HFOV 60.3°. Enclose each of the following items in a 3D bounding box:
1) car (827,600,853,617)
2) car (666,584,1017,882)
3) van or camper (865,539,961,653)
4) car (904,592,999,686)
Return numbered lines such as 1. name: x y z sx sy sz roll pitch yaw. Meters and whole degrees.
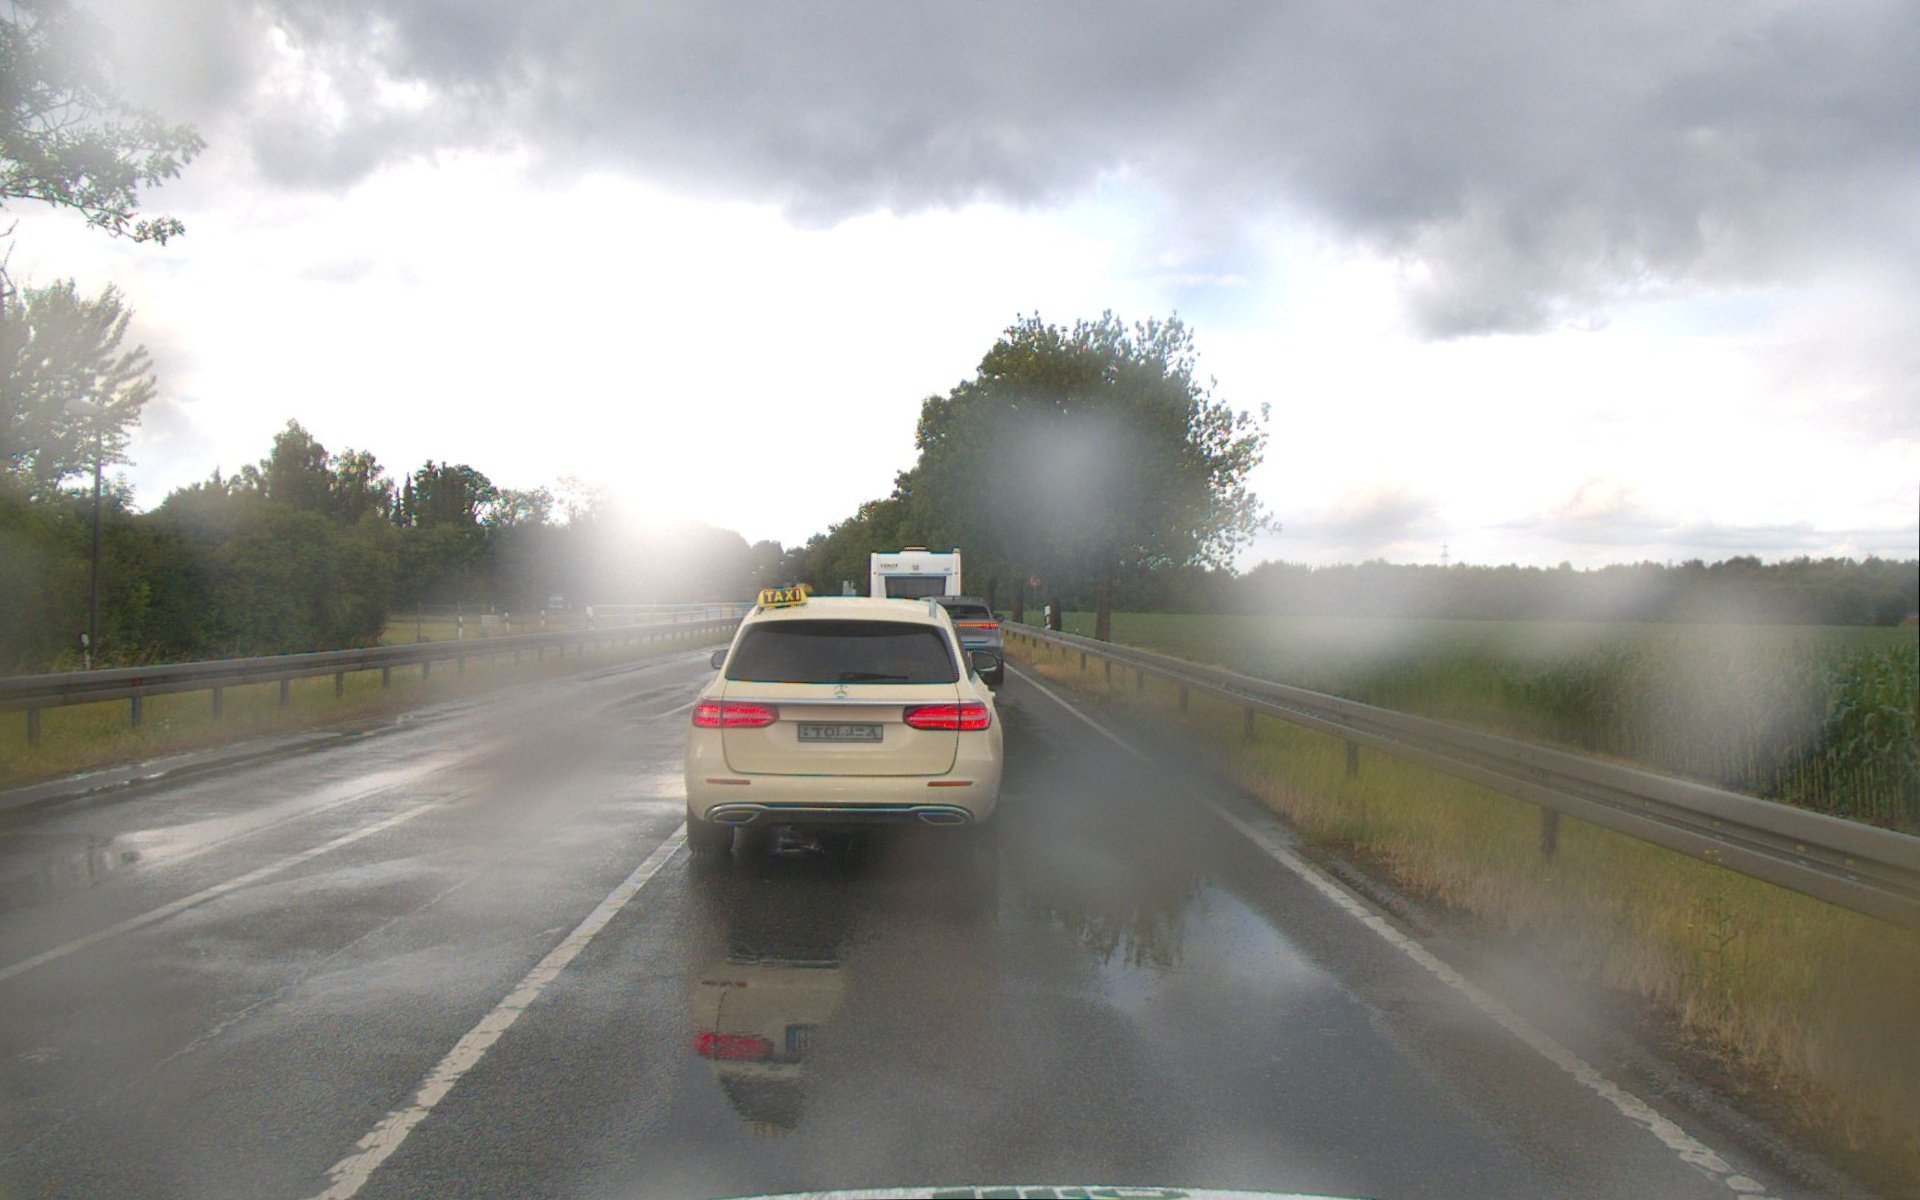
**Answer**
1. car: -9.350 0.634 129.040 1.723 1.291 3.999 1 0 -1
2. car: -0.601 0.686 10.574 1.787 1.511 4.145 1 0 0
3. van or camper: -1.179 -0.119 43.185 2.303 2.727 5.767 1 0 -1
4. car: -0.173 0.644 29.689 1.594 1.556 3.932 1 0 -1
